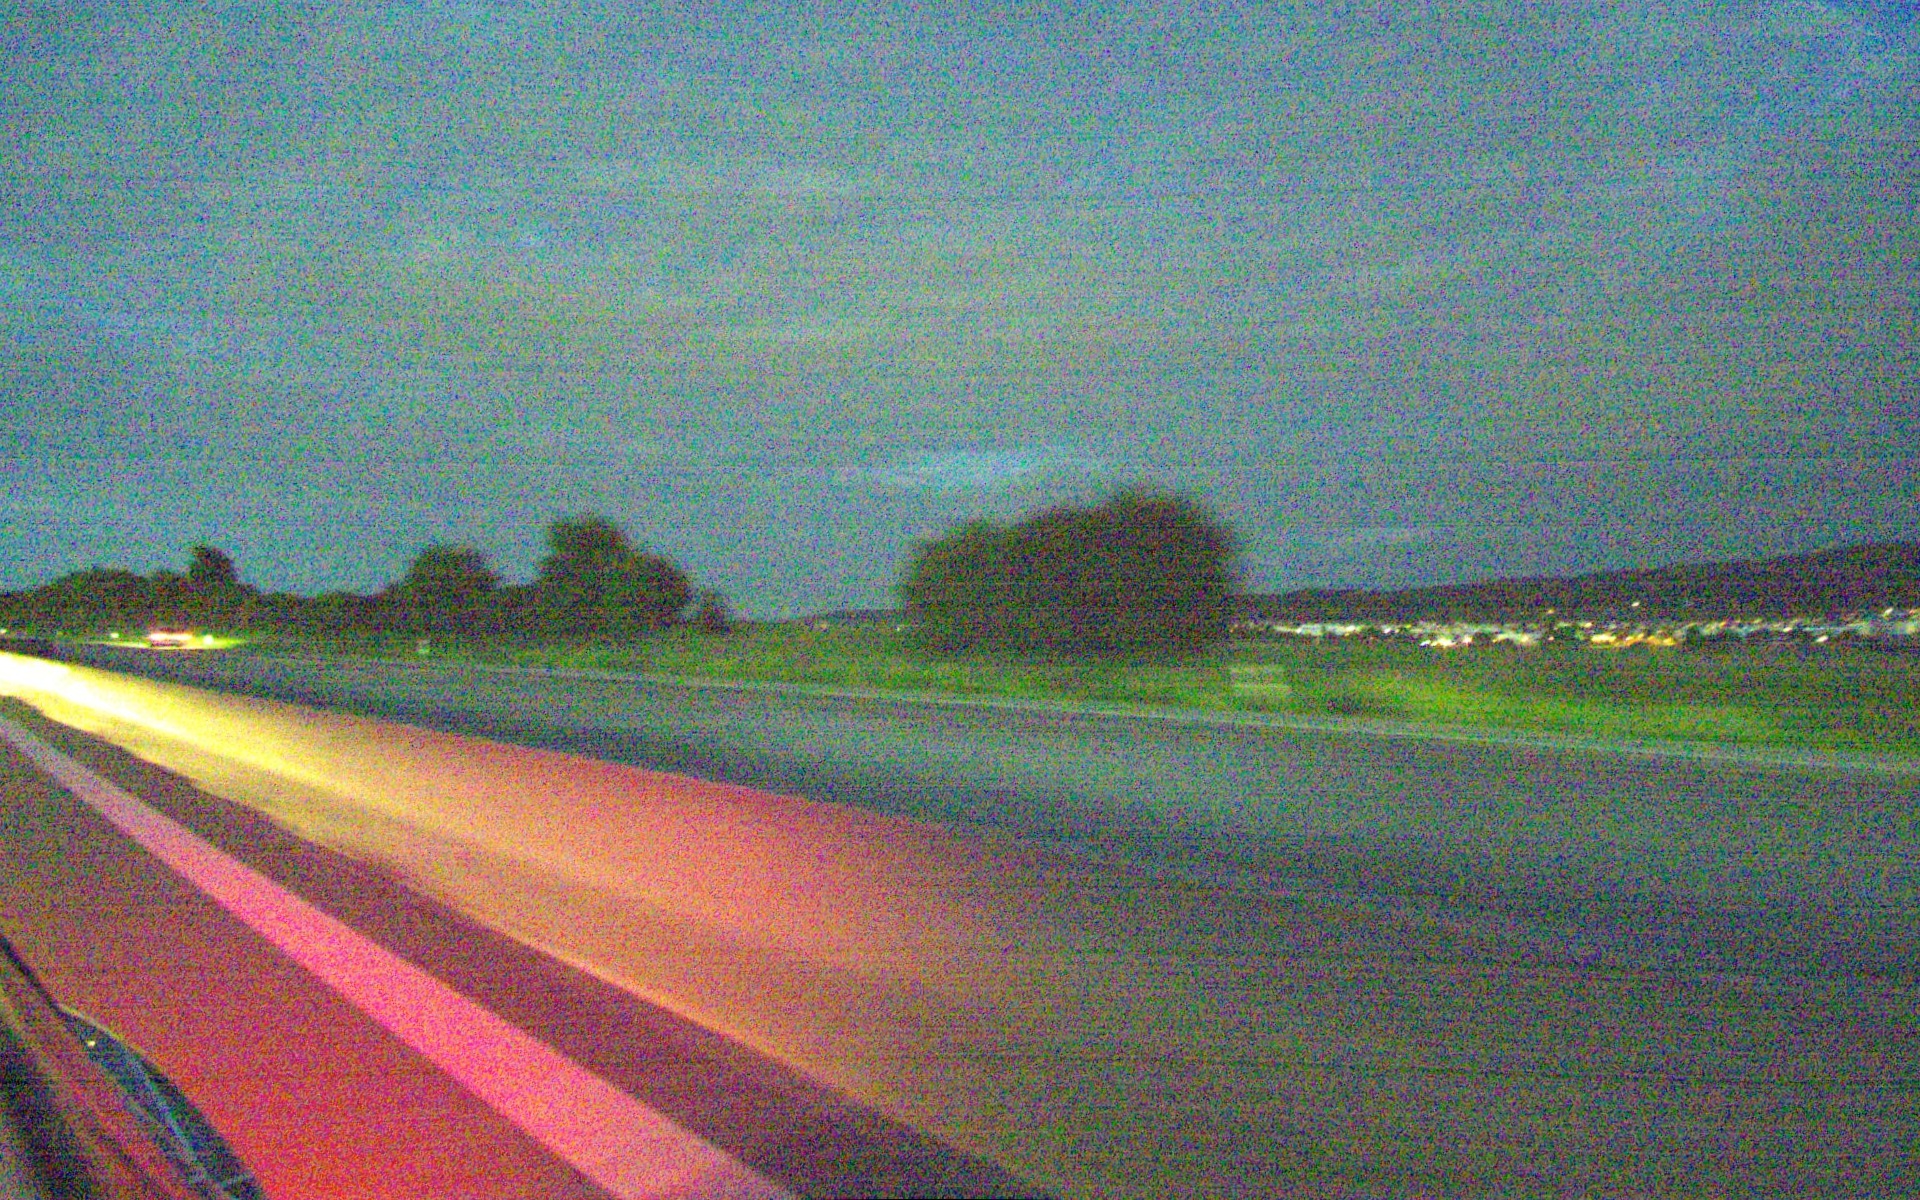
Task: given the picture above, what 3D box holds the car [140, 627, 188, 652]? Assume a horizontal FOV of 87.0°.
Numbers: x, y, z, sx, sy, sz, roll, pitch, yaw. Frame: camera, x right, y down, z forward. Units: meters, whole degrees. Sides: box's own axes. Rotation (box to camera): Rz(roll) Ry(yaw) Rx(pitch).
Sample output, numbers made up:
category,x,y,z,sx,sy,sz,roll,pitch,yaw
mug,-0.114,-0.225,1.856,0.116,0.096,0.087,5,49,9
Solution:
category,x,y,z,sx,sy,sz,roll,pitch,yaw
car,-58.245,2.882,74.029,4.774,1.733,2.022,-2,-4,43
